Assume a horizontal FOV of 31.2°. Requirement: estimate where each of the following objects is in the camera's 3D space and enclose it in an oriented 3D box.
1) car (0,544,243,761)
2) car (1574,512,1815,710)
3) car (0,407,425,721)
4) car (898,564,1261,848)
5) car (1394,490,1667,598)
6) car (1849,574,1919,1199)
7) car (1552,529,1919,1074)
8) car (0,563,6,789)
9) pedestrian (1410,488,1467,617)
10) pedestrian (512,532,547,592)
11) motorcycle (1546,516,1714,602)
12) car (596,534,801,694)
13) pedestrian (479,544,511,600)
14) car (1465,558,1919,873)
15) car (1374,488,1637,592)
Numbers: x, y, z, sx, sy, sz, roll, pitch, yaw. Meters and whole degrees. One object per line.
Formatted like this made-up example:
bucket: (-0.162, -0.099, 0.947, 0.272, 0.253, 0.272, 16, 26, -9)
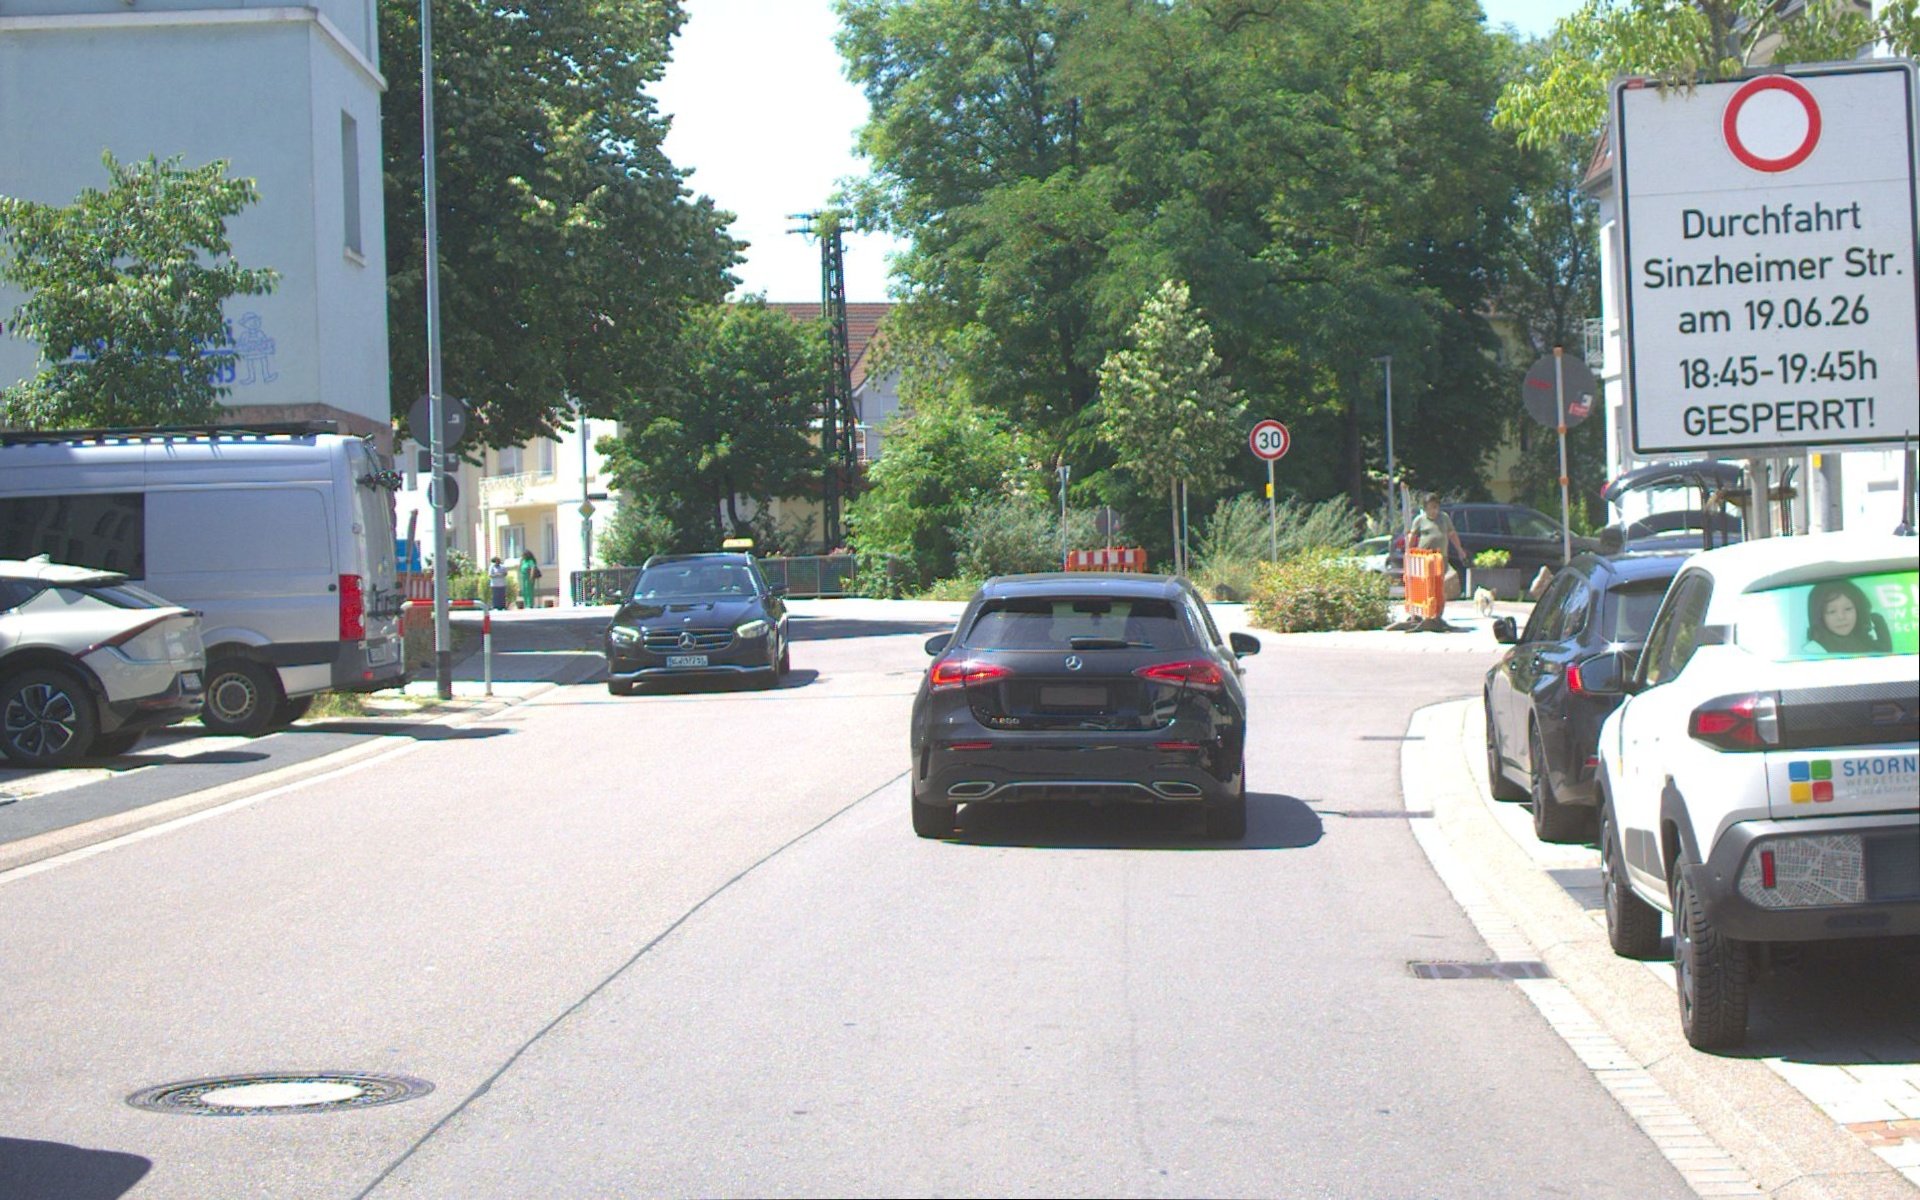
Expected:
car: (-7.888, 0.378, 26.140, 4.453, 1.586, 2.000, 0, 0, 0)
car: (6.489, 0.048, 30.103, 1.873, 1.486, 3.859, -3, 2, 14)
car: (-7.909, -0.317, 31.035, 5.767, 2.723, 2.291, 0, 0, 1)
car: (0.783, 0.577, 19.621, 1.828, 1.437, 3.999, -1, -1, 5)
car: (9.206, -0.899, 55.666, 4.075, 1.710, 1.856, 0, 0, -1)
car: (2.957, 0.623, 5.839, 1.832, 1.477, 4.095, -3, 0, 1)
car: (3.063, 0.517, 11.551, 1.738, 1.481, 4.053, -4, 0, 6)
car: (-8.126, 0.489, 20.888, 4.199, 1.433, 1.886, 0, 0, -4)
pedestrian: (6.784, -0.685, 48.773, 0.746, 1.790, 0.843, -1, 2, 8)
pedestrian: (-12.555, -1.101, 100.257, 0.661, 1.735, 0.701, -2, 0, -43)
motorcycle: (10.166, -0.624, 52.219, 2.377, 1.271, 0.856, -1, 1, 0)
car: (-2.858, 0.099, 38.543, 1.893, 1.548, 4.799, -2, 2, 0)
pedestrian: (-13.645, -0.825, 100.792, 0.614, 1.607, 0.838, -2, 0, -30)
car: (3.762, 0.523, 18.330, 1.724, 1.400, 4.608, -3, 0, 4)
car: (9.100, -0.992, 57.524, 4.075, 1.710, 1.856, 0, 0, -1)
